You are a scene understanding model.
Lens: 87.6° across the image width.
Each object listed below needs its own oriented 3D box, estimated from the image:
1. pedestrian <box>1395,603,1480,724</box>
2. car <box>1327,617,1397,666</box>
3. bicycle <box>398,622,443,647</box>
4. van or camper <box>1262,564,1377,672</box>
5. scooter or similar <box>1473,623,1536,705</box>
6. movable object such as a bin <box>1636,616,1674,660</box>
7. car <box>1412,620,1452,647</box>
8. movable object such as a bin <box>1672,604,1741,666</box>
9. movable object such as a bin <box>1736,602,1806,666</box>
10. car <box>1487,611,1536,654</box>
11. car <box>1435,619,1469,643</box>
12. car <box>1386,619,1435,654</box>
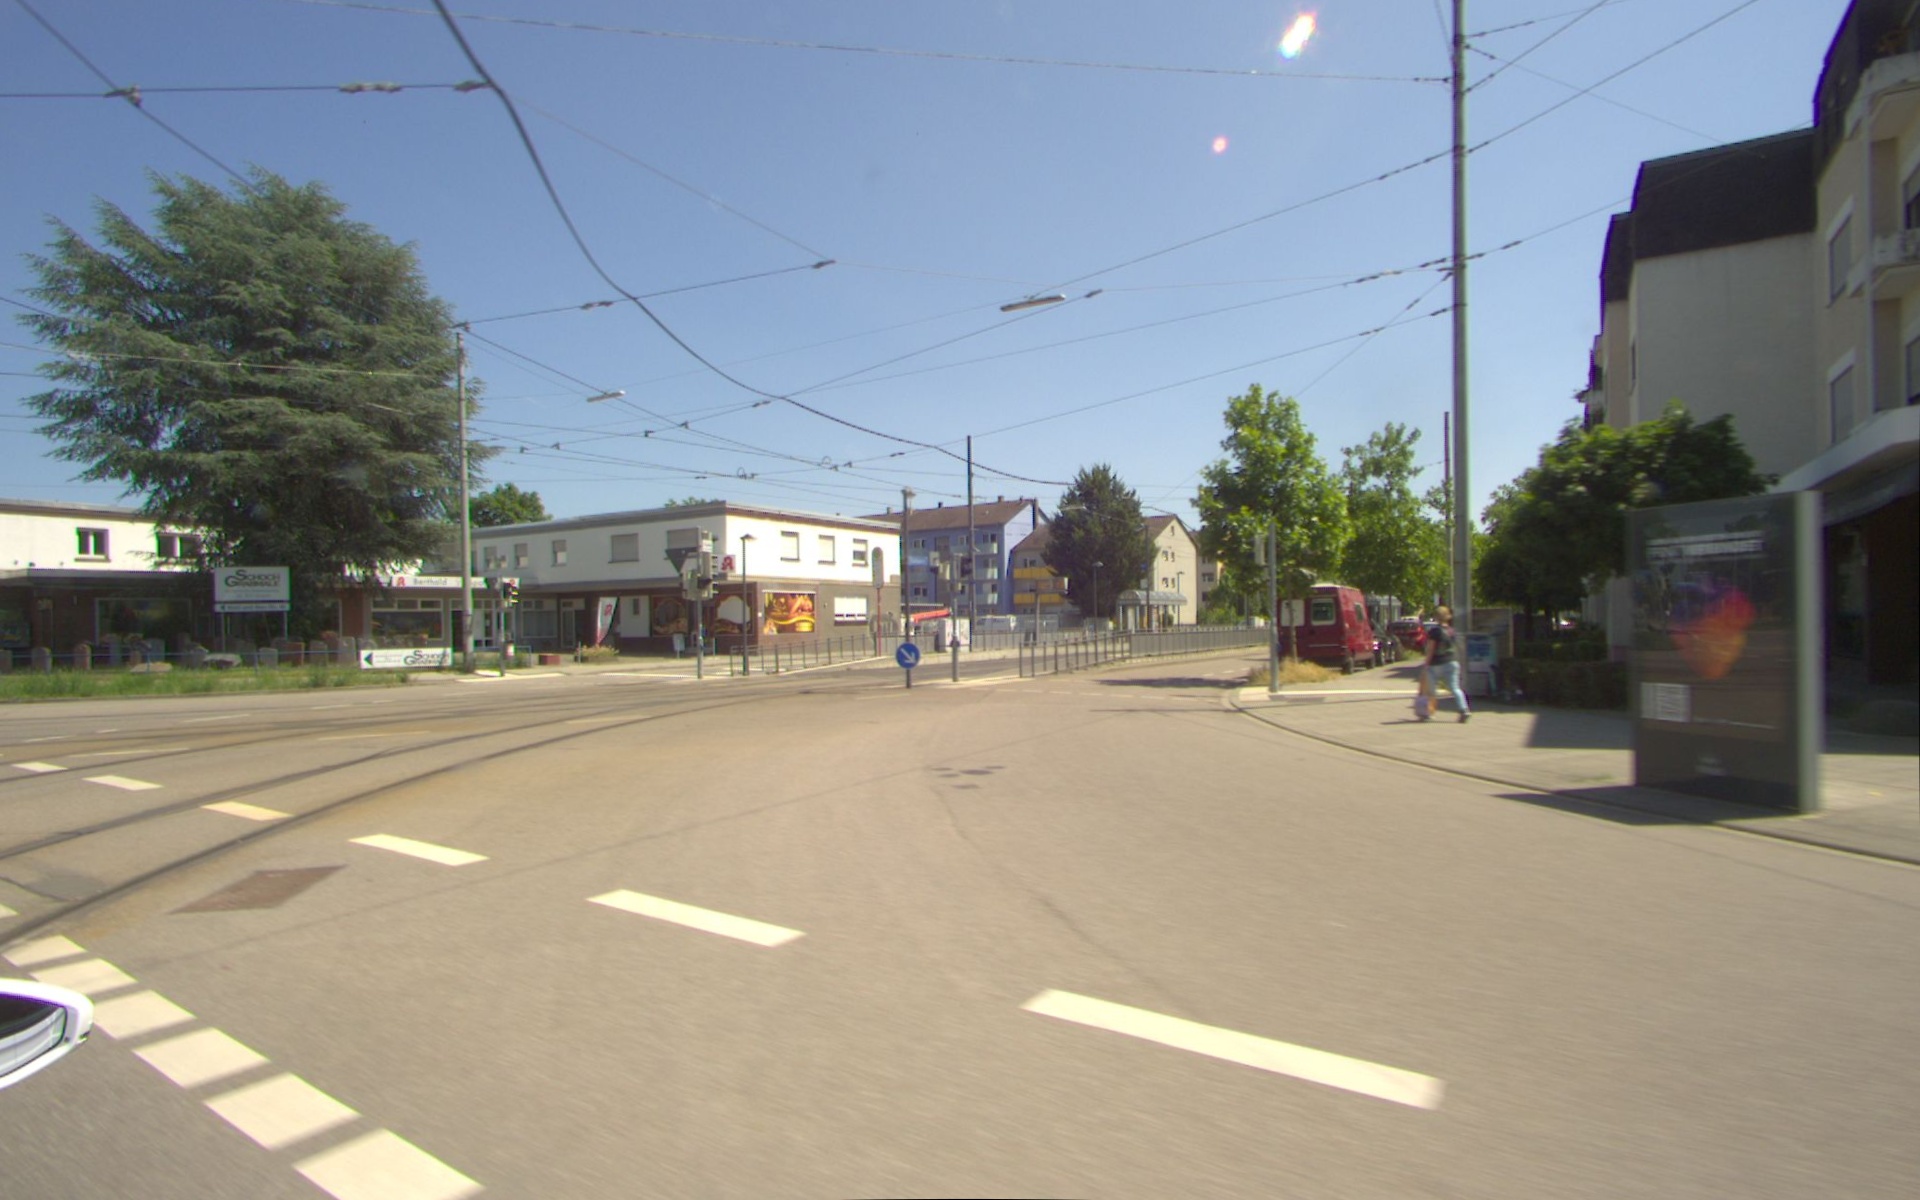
[{"bbox_3d":[6.600,0.859,13.844,0.821,1.604,0.818,0,-1,-44],"label":"pedestrian"},{"bbox_3d":[13.688,1.359,34.011,1.654,1.567,3.788,-1,-1,31],"label":"car"},{"bbox_3d":[-26.712,1.715,49.635,0.592,1.207,1.861,-3,-4,43],"label":"bicycle"},{"bbox_3d":[10.423,0.522,28.770,2.175,2.801,5.216,-1,-1,31],"label":"van or camper"},{"bbox_3d":[8.519,0.982,15.710,0.387,1.228,1.256,-1,-1,6],"label":"scooter or similar"},{"bbox_3d":[16.992,0.925,24.506,0.703,1.060,0.741,-1,-1,31],"label":"movable object such as a bin"},{"bbox_3d":[24.296,1.697,51.529,1.431,1.371,3.345,-1,-1,33],"label":"car"},{"bbox_3d":[17.778,0.828,23.883,1.177,1.424,1.055,-1,-1,31],"label":"movable object such as a bin"},{"bbox_3d":[18.681,0.780,23.098,1.047,1.424,1.316,-1,-1,31],"label":"movable object such as a bin"},{"bbox_3d":[22.184,1.281,40.239,1.629,1.630,3.635,-1,-1,30],"label":"car"},{"bbox_3d":[29.422,1.818,59.834,1.431,1.371,3.345,-1,-1,33],"label":"car"},{"bbox_3d":[19.101,1.512,42.387,1.431,1.399,3.345,-1,-1,33],"label":"car"}]
